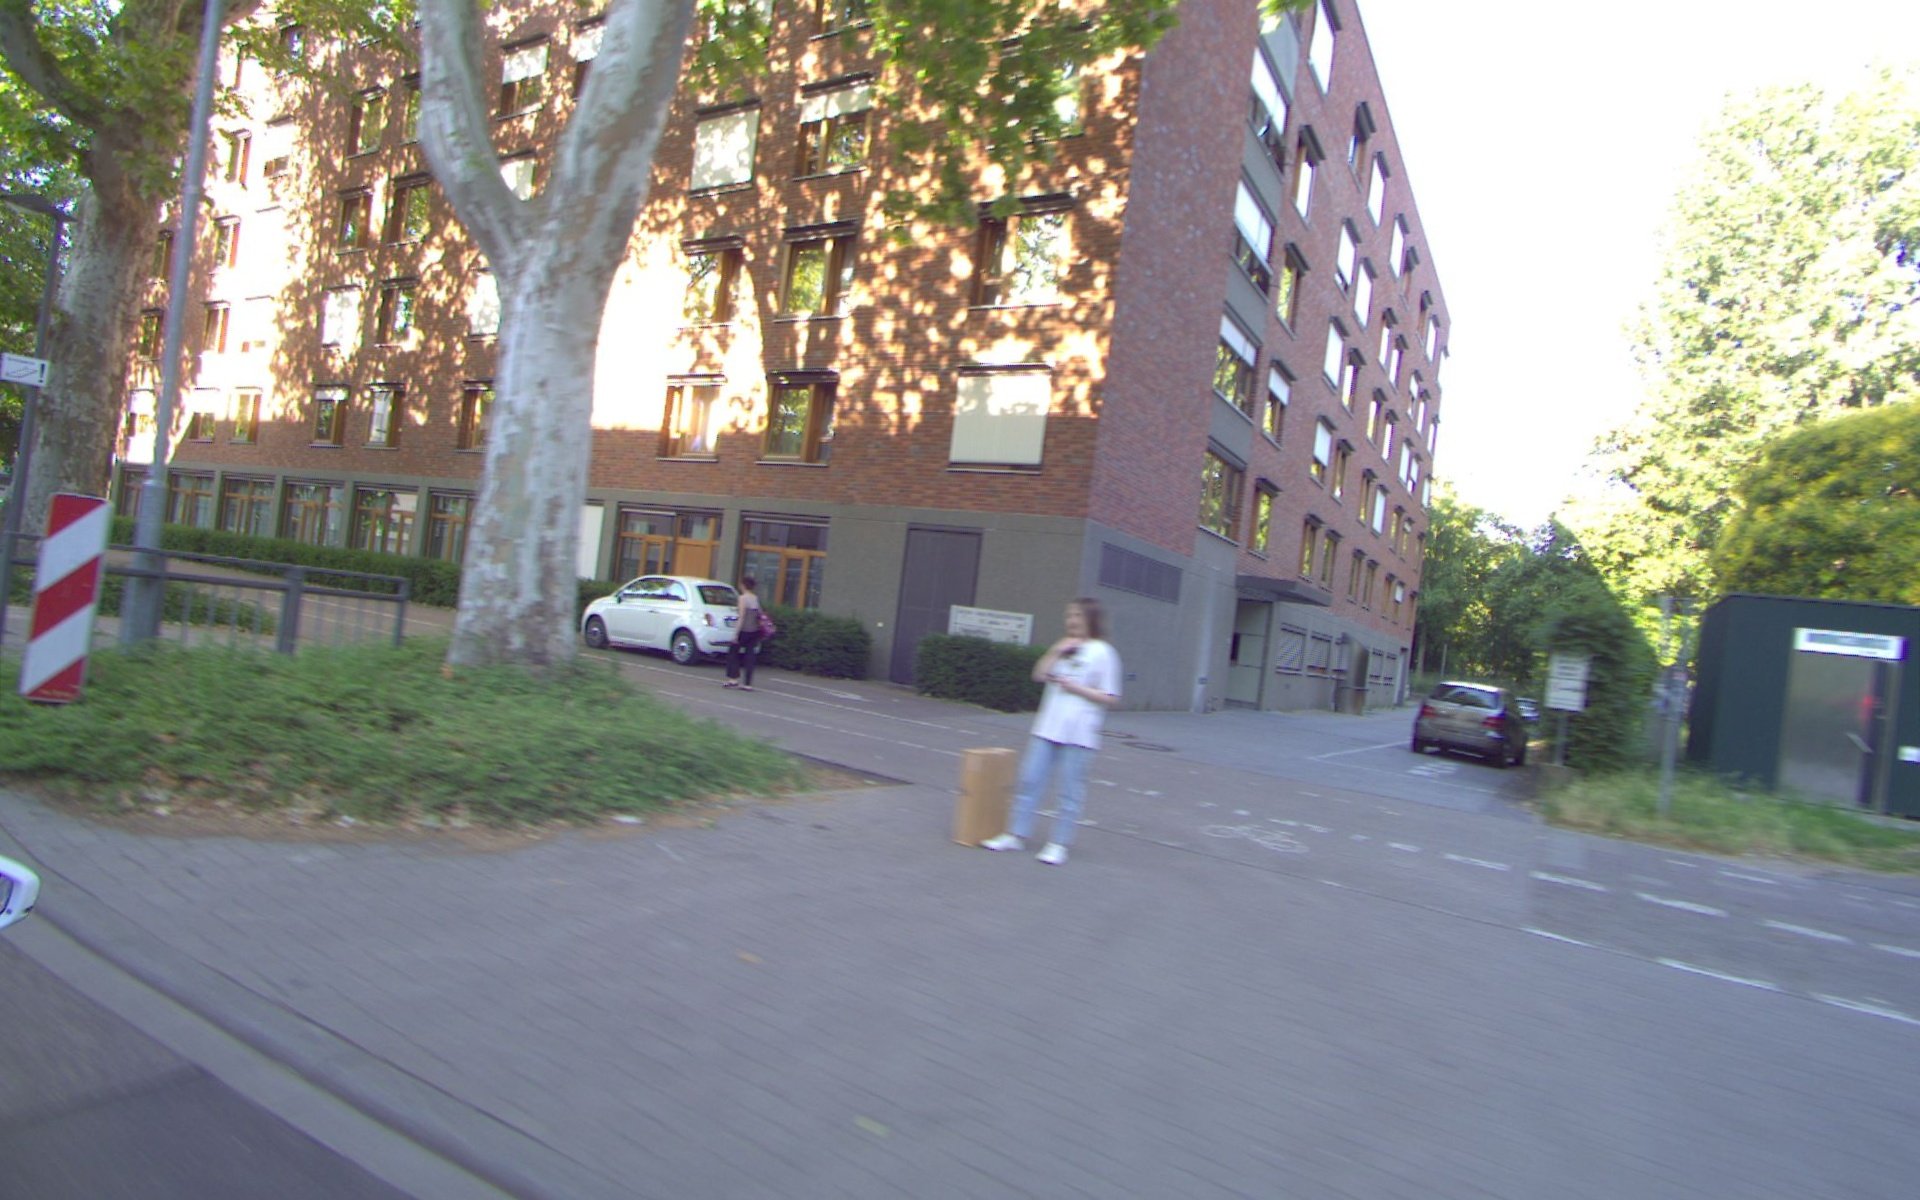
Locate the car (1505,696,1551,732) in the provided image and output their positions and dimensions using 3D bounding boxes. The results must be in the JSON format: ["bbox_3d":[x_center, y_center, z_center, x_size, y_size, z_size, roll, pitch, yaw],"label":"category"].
[{"bbox_3d":[29.982,6.020,53.042,1.763,1.583,3.993,7,-2,33],"label":"car"}]

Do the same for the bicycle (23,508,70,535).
[{"bbox_3d":[-44.286,-3.791,48.770,1.557,1.050,0.475,8,-1,-36],"label":"bicycle"}]

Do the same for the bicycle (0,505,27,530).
[{"bbox_3d":[-45.111,-3.939,47.395,1.558,1.050,0.474,8,-1,-37],"label":"bicycle"}]

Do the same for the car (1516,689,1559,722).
[{"bbox_3d":[33.055,6.059,57.557,1.763,1.583,3.993,7,-2,33],"label":"car"}]

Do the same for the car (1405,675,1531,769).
[{"bbox_3d":[10.891,2.569,21.420,1.764,1.583,3.992,7,-2,34],"label":"car"}]

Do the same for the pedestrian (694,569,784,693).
[{"bbox_3d":[-3.227,0.462,14.711,0.821,1.689,0.736,7,0,32],"label":"pedestrian"}]

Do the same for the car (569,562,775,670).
[{"bbox_3d":[-5.257,0.286,18.296,3.360,1.513,1.603,7,-1,31],"label":"car"}]

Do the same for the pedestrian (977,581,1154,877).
[{"bbox_3d":[0.677,0.783,6.387,0.726,1.689,0.653,7,0,32],"label":"pedestrian"}]
